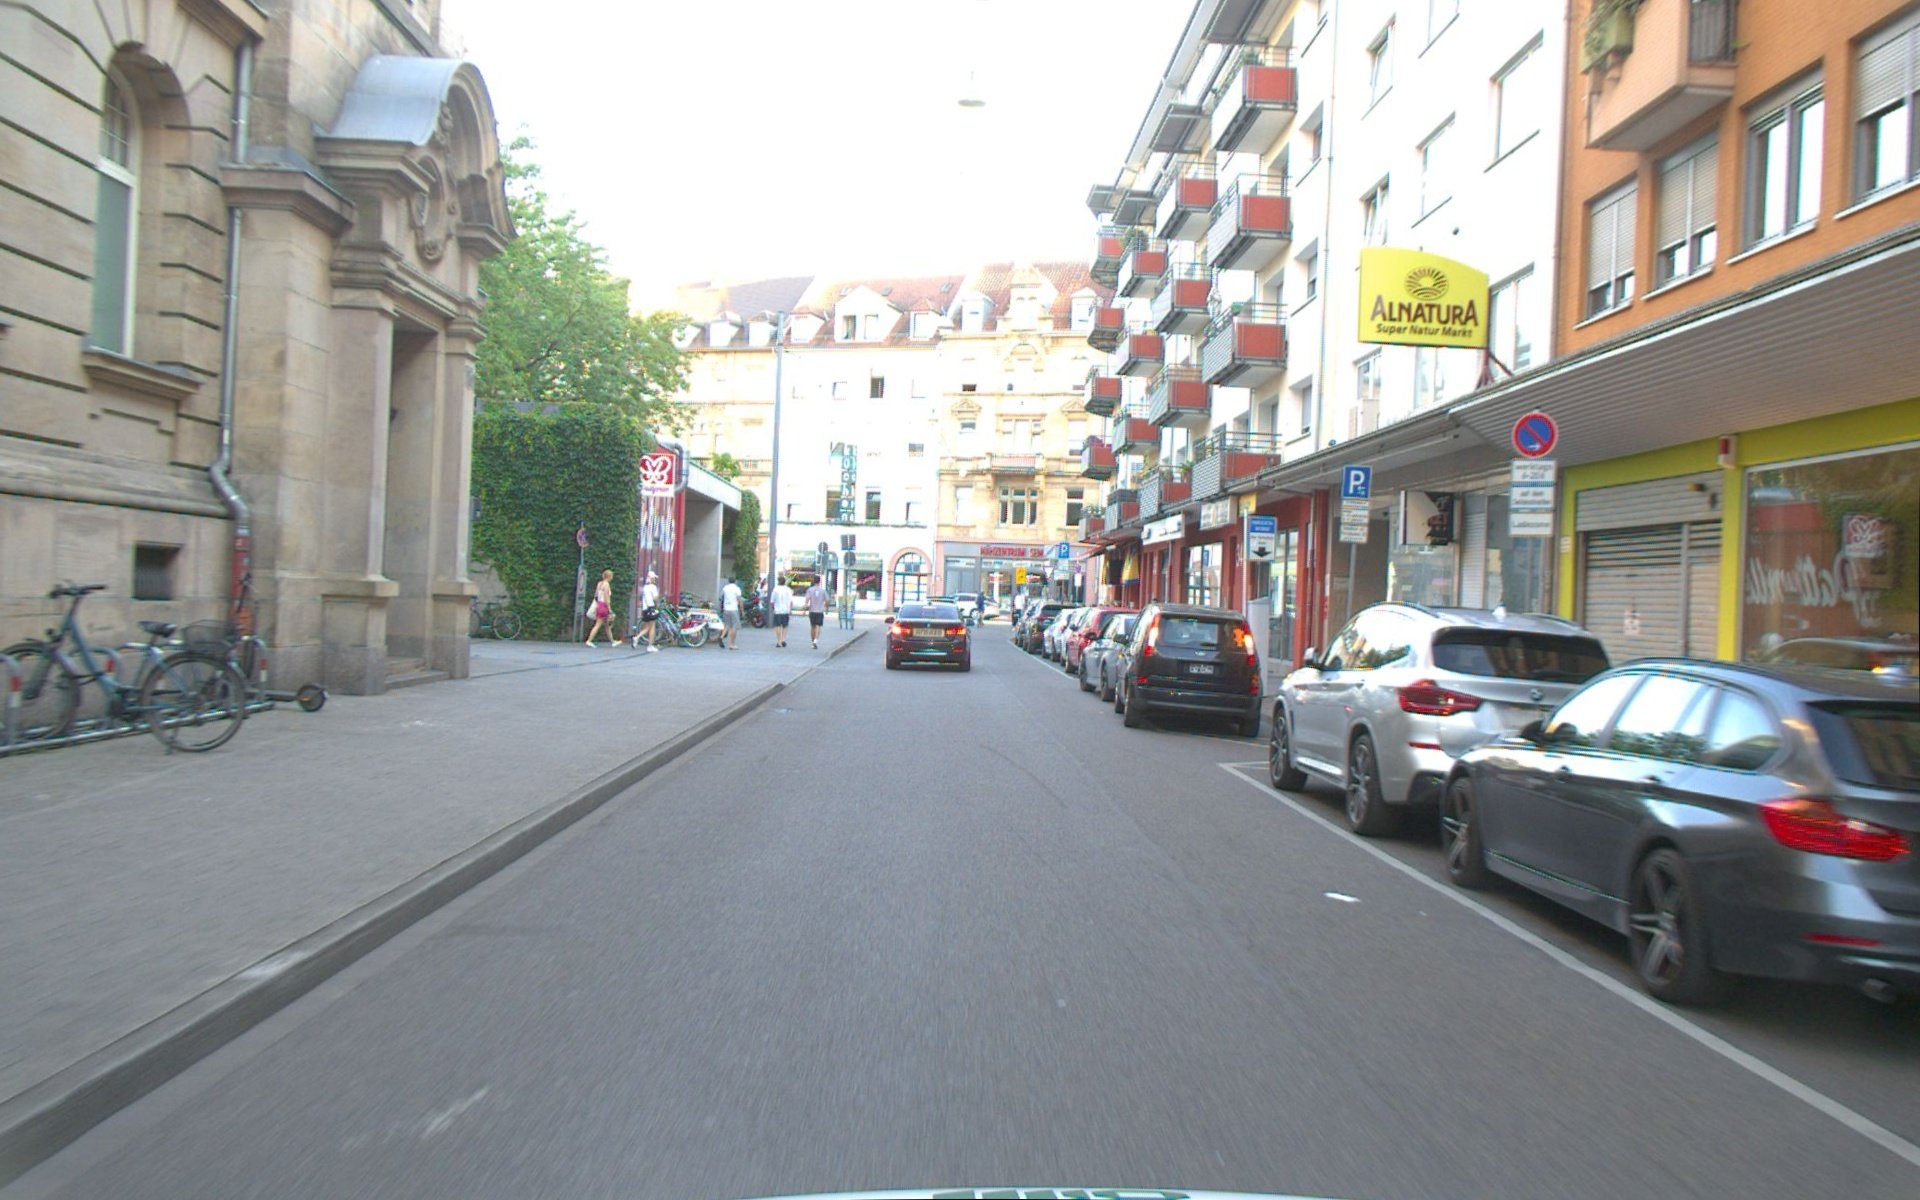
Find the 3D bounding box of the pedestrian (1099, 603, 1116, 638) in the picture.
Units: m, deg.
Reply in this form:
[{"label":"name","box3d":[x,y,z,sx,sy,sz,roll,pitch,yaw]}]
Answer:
[{"label":"pedestrian","box3d":[5.906,0.814,66.149,0.594,1.371,0.696,1,0,-2]}]

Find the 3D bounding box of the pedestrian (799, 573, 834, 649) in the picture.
[{"label":"pedestrian","box3d":[-3.758,0.293,43.389,0.729,1.926,1.050,3,0,0]}]

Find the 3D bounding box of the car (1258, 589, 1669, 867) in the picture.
[{"label":"car","box3d":[3.761,0.833,13.321,1.717,1.697,4.756,4,0,0]}]

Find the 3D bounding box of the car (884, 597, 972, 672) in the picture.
[{"label":"car","box3d":[-0.667,0.704,36.014,1.729,1.399,4.790,3,0,-1]}]

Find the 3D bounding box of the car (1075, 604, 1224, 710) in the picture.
[{"label":"car","box3d":[3.091,0.891,27.930,1.702,1.439,4.680,4,0,-3]}]

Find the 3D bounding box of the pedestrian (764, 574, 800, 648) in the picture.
[{"label":"pedestrian","box3d":[-4.630,0.286,43.150,0.726,1.844,1.008,4,0,-2]}]

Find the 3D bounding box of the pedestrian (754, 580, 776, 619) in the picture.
[{"label":"pedestrian","box3d":[-8.818,-0.022,74.726,0.661,1.776,0.654,2,0,39]}]

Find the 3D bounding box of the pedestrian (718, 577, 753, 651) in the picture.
[{"label":"pedestrian","box3d":[-5.518,0.344,40.712,0.702,1.785,0.848,2,0,-2]}]

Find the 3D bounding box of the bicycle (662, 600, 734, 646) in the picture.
[{"label":"bicycle","box3d":[-6.904,0.599,43.603,1.757,1.127,0.500,3,0,2]}]

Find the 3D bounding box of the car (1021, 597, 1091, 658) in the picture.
[{"label":"car","box3d":[2.969,0.830,52.041,1.729,1.670,4.790,4,0,-1]}]

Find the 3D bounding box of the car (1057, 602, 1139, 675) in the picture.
[{"label":"car","box3d":[3.317,0.897,40.333,1.574,1.538,4.048,4,0,0]}]

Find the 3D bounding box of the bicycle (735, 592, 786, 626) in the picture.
[{"label":"bicycle","box3d":[-7.300,0.331,60.522,1.760,1.127,0.499,4,0,-6]}]

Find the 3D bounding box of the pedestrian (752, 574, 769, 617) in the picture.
[{"label":"pedestrian","box3d":[-8.928,-0.196,73.913,0.571,1.915,0.634,2,0,5]}]

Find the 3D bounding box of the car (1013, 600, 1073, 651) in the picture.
[{"label":"car","box3d":[2.863,0.845,57.931,1.729,1.528,4.790,4,0,-1]}]

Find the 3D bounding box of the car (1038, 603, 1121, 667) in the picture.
[{"label":"car","box3d":[3.242,0.917,45.509,1.665,1.477,4.456,4,0,-3]}]

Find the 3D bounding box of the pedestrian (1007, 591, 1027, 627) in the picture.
[{"label":"pedestrian","box3d":[2.642,0.410,76.926,0.711,1.636,0.649,4,0,-10]}]

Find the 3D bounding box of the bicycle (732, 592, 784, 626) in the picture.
[{"label":"bicycle","box3d":[-7.307,0.329,59.773,1.757,1.127,0.500,4,0,1]}]

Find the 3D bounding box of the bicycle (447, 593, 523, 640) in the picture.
[{"label":"bicycle","box3d":[-11.139,0.387,38.776,1.626,1.031,0.370,3,0,0]}]

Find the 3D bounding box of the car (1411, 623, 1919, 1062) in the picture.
[{"label":"car","box3d":[3.811,0.954,8.353,1.657,1.439,4.756,4,0,0]}]

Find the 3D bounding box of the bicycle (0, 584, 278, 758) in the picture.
[{"label":"bicycle","box3d":[-6.079,0.514,12.044,1.906,1.080,0.617,6,-1,-16]}]

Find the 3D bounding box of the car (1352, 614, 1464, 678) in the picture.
[{"label":"car","box3d":[10.957,1.094,40.704,1.704,1.360,4.001,2,0,1]}]

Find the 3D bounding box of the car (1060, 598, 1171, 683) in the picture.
[{"label":"car","box3d":[3.287,0.814,35.798,1.678,1.538,4.650,4,0,-3]}]

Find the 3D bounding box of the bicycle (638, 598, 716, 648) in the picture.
[{"label":"bicycle","box3d":[-6.915,0.564,40.448,1.758,1.127,0.500,2,0,-1]}]

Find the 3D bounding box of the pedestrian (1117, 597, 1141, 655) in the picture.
[{"label":"pedestrian","box3d":[4.976,0.773,48.734,0.635,1.690,0.655,-1,0,1]}]

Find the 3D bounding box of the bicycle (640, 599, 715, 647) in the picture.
[{"label":"bicycle","box3d":[-7.059,0.569,41.327,1.758,1.127,0.500,2,0,-2]}]

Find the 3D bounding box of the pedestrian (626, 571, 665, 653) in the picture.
[{"label":"pedestrian","box3d":[-7.088,0.265,37.272,0.636,1.780,0.985,3,0,-2]}]

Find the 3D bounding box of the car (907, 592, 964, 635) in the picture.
[{"label":"car","box3d":[-0.897,0.492,61.828,1.838,1.498,4.002,2,0,3]}]

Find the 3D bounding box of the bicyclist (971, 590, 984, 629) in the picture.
[{"label":"bicyclist","box3d":[0.842,0.447,78.229,0.513,1.787,0.620,3,0,2]}]

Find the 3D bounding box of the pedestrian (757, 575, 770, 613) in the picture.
[{"label":"pedestrian","box3d":[-8.688,-0.262,73.185,0.490,1.672,0.521,2,0,1]}]

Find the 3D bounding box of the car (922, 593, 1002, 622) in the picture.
[{"label":"car","box3d":[0.128,0.437,96.071,4.263,1.589,1.868,2,-1,22]}]

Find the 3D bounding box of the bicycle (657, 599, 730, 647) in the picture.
[{"label":"bicycle","box3d":[-6.909,0.593,42.970,1.757,1.127,0.500,3,0,2]}]

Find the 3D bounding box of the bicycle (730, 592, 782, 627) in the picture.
[{"label":"bicycle","box3d":[-7.293,0.329,59.179,1.758,1.127,0.500,4,0,-2]}]

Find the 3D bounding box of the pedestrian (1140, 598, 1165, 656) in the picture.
[{"label":"pedestrian","box3d":[5.650,0.794,48.664,0.634,1.690,0.794,-1,0,1]}]

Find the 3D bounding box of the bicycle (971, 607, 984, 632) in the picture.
[{"label":"bicycle","box3d":[0.823,0.903,78.250,0.525,1.127,1.800,3,0,2]}]

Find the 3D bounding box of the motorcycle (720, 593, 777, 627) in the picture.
[{"label":"motorcycle","box3d":[-7.385,0.342,57.744,1.765,1.082,0.764,3,0,25]}]

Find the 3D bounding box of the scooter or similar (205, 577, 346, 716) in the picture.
[{"label":"scooter or similar","box3d":[-6.531,0.442,15.823,1.113,1.254,0.495,3,0,-13]}]

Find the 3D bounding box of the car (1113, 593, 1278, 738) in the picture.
[{"label":"car","box3d":[3.101,0.795,22.554,1.757,1.637,4.488,4,0,3]}]

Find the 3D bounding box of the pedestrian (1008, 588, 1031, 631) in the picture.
[{"label":"pedestrian","box3d":[2.698,0.419,75.199,0.671,1.910,0.691,3,0,-39]}]

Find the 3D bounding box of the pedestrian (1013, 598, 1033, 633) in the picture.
[{"label":"pedestrian","box3d":[2.890,0.707,76.276,0.722,1.539,0.649,4,0,-10]}]

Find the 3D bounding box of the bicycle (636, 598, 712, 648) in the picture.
[{"label":"bicycle","box3d":[-7.047,0.563,40.791,1.758,1.127,0.500,2,0,-2]}]

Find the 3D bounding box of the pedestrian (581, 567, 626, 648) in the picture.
[{"label":"pedestrian","box3d":[-8.083,0.171,37.544,0.737,1.780,0.846,3,0,-2]}]
